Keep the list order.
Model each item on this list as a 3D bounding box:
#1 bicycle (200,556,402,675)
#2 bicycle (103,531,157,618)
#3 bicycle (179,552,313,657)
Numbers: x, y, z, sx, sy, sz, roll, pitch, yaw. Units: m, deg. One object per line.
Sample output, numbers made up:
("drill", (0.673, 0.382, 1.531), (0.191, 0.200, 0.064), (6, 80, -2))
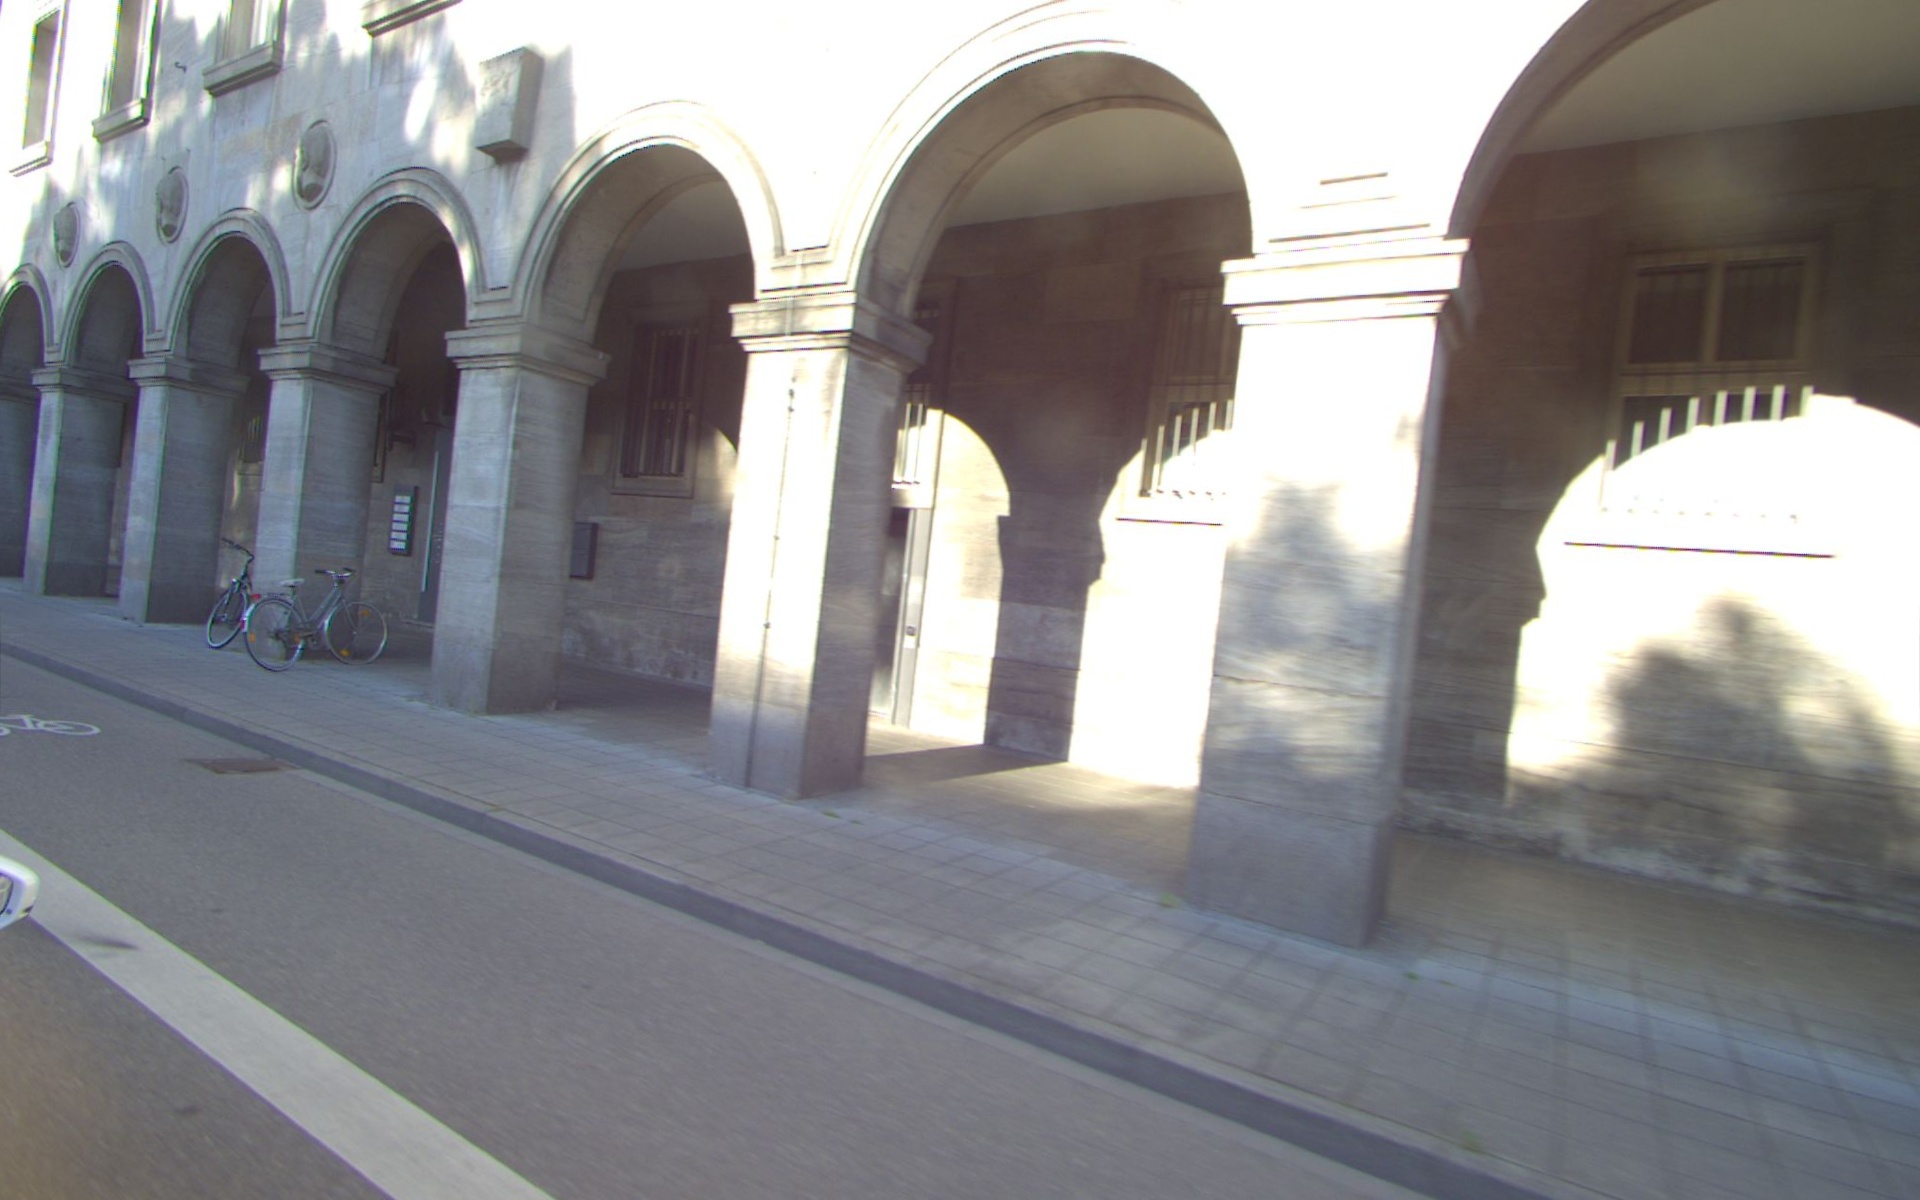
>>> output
("bicycle", (-6.633, 0.159, 10.239), (0.518, 1.064, 1.712), (6, 1, 18))
("bicycle", (-11.329, -0.371, 13.754), (0.468, 1.064, 1.695), (4, 2, -38))
("bicycle", (-8.088, 0.021, 11.481), (0.602, 1.064, 1.708), (5, 1, -14))
